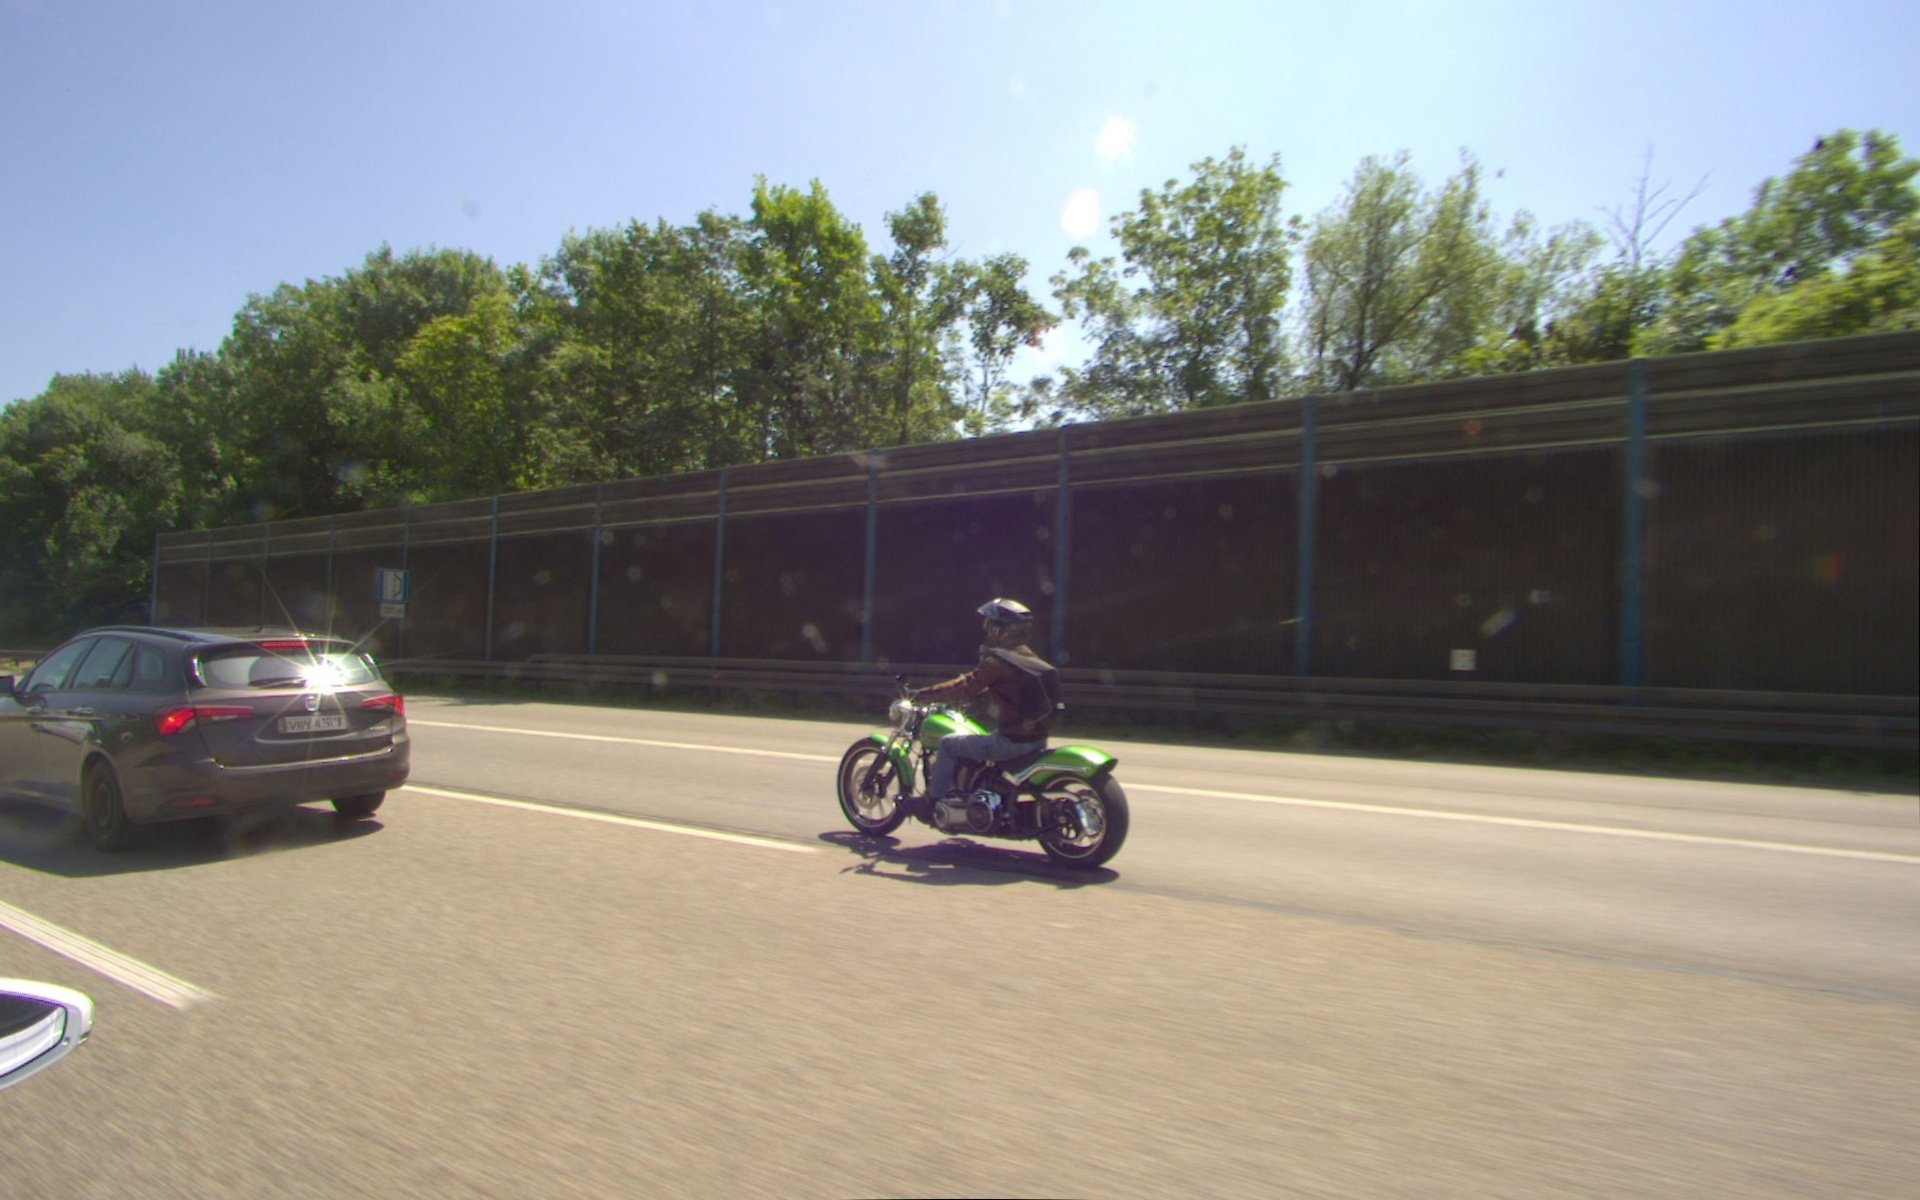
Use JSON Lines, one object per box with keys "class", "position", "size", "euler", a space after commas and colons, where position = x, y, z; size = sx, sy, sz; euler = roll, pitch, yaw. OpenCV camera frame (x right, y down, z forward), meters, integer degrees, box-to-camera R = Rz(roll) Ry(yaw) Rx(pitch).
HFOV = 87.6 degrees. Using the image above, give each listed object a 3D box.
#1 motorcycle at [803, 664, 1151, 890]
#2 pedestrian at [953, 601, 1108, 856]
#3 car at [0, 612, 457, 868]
{"class": "motorcycle", "position": [0.062, 1.073, 6.726], "size": [2.246, 1.197, 0.857], "euler": [0, -1, 36]}
{"class": "pedestrian", "position": [0.466, 0.773, 6.431], "size": [0.630, 1.498, 0.849], "euler": [0, -1, 35]}
{"class": "car", "position": [-6.139, 0.885, 7.968], "size": [4.338, 1.532, 1.835], "euler": [0, -2, 32]}
